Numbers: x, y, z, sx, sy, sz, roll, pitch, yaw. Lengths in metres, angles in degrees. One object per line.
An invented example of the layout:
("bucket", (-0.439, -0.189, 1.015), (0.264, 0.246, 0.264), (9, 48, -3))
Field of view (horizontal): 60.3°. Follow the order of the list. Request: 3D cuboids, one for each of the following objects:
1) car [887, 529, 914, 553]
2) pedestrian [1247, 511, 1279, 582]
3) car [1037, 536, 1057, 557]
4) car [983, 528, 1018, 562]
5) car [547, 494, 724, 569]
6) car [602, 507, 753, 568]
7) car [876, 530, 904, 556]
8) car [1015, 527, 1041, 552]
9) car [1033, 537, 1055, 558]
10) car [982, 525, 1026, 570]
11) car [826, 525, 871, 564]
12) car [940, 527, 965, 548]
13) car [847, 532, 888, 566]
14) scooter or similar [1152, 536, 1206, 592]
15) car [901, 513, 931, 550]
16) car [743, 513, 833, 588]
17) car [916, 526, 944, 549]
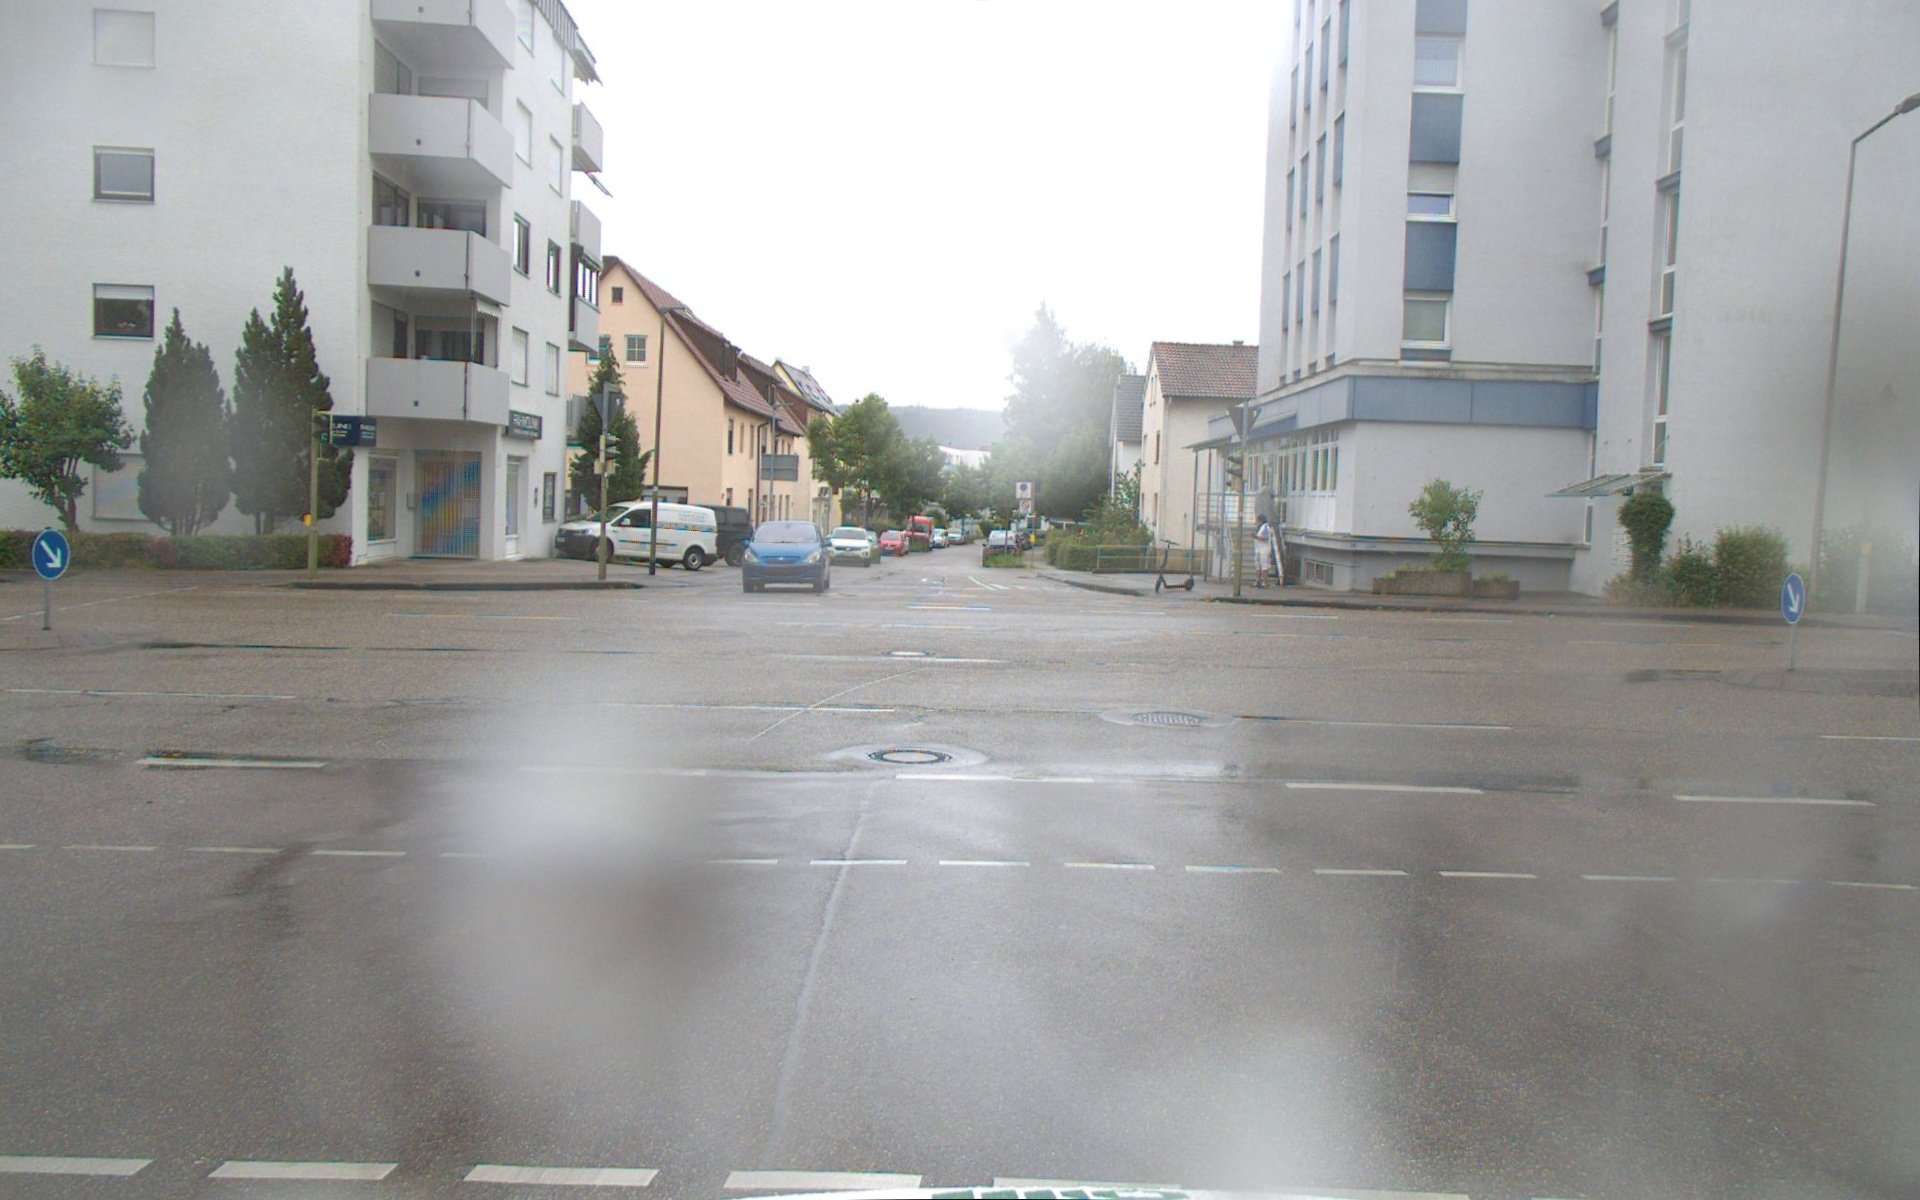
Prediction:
("car", (-4.082, -4.014, 112.380), (1.732, 1.545, 3.998), (0, 2, -3))
("pedestrian", (7.272, -1.282, 39.697), (0.641, 1.680, 0.646), (1, -1, 0))
("car", (9.012, -5.510, 170.695), (1.951, 2.048, 4.003), (1, 2, 4))
("car", (2.551, -3.424, 103.543), (1.951, 2.048, 4.003), (1, 2, 4))
("car", (-9.271, -1.935, 47.454), (4.684, 1.809, 1.748), (3, 0, -40))
("car", (-9.273, -2.018, 54.414), (4.578, 1.921, 1.935), (-1, 2, -40))
("car", (-4.429, -3.588, 104.106), (1.732, 1.545, 3.998), (0, 2, -3))
("car", (5.683, -5.035, 138.081), (1.951, 2.048, 4.003), (1, 2, 4))
("car", (8.250, -5.163, 162.097), (1.951, 2.048, 4.003), (1, 2, 4))
("car", (2.188, -2.569, 81.544), (1.951, 2.049, 4.002), (1, 0, 4))
("car", (-4.552, -2.273, 67.795), (1.732, 1.549, 3.999), (0, 2, -2))
("car", (-0.679, -5.824, 154.699), (1.951, 1.736, 4.003), (1, 0, 6))
("car", (-4.416, -2.455, 79.448), (1.731, 1.545, 4.195), (1, 2, 0))
("scooter or similar", (5.112, -0.833, 38.637), (1.039, 1.249, 0.800), (1, 0, -10))
("car", (-3.367, -5.236, 127.197), (2.171, 2.816, 5.725), (0, 2, -1))
("car", (-3.666, -1.021, 35.766), (1.732, 1.471, 3.997), (1, 0, -4))
("car", (-2.533, -5.222, 138.509), (1.951, 1.713, 4.002), (1, 0, 4))
